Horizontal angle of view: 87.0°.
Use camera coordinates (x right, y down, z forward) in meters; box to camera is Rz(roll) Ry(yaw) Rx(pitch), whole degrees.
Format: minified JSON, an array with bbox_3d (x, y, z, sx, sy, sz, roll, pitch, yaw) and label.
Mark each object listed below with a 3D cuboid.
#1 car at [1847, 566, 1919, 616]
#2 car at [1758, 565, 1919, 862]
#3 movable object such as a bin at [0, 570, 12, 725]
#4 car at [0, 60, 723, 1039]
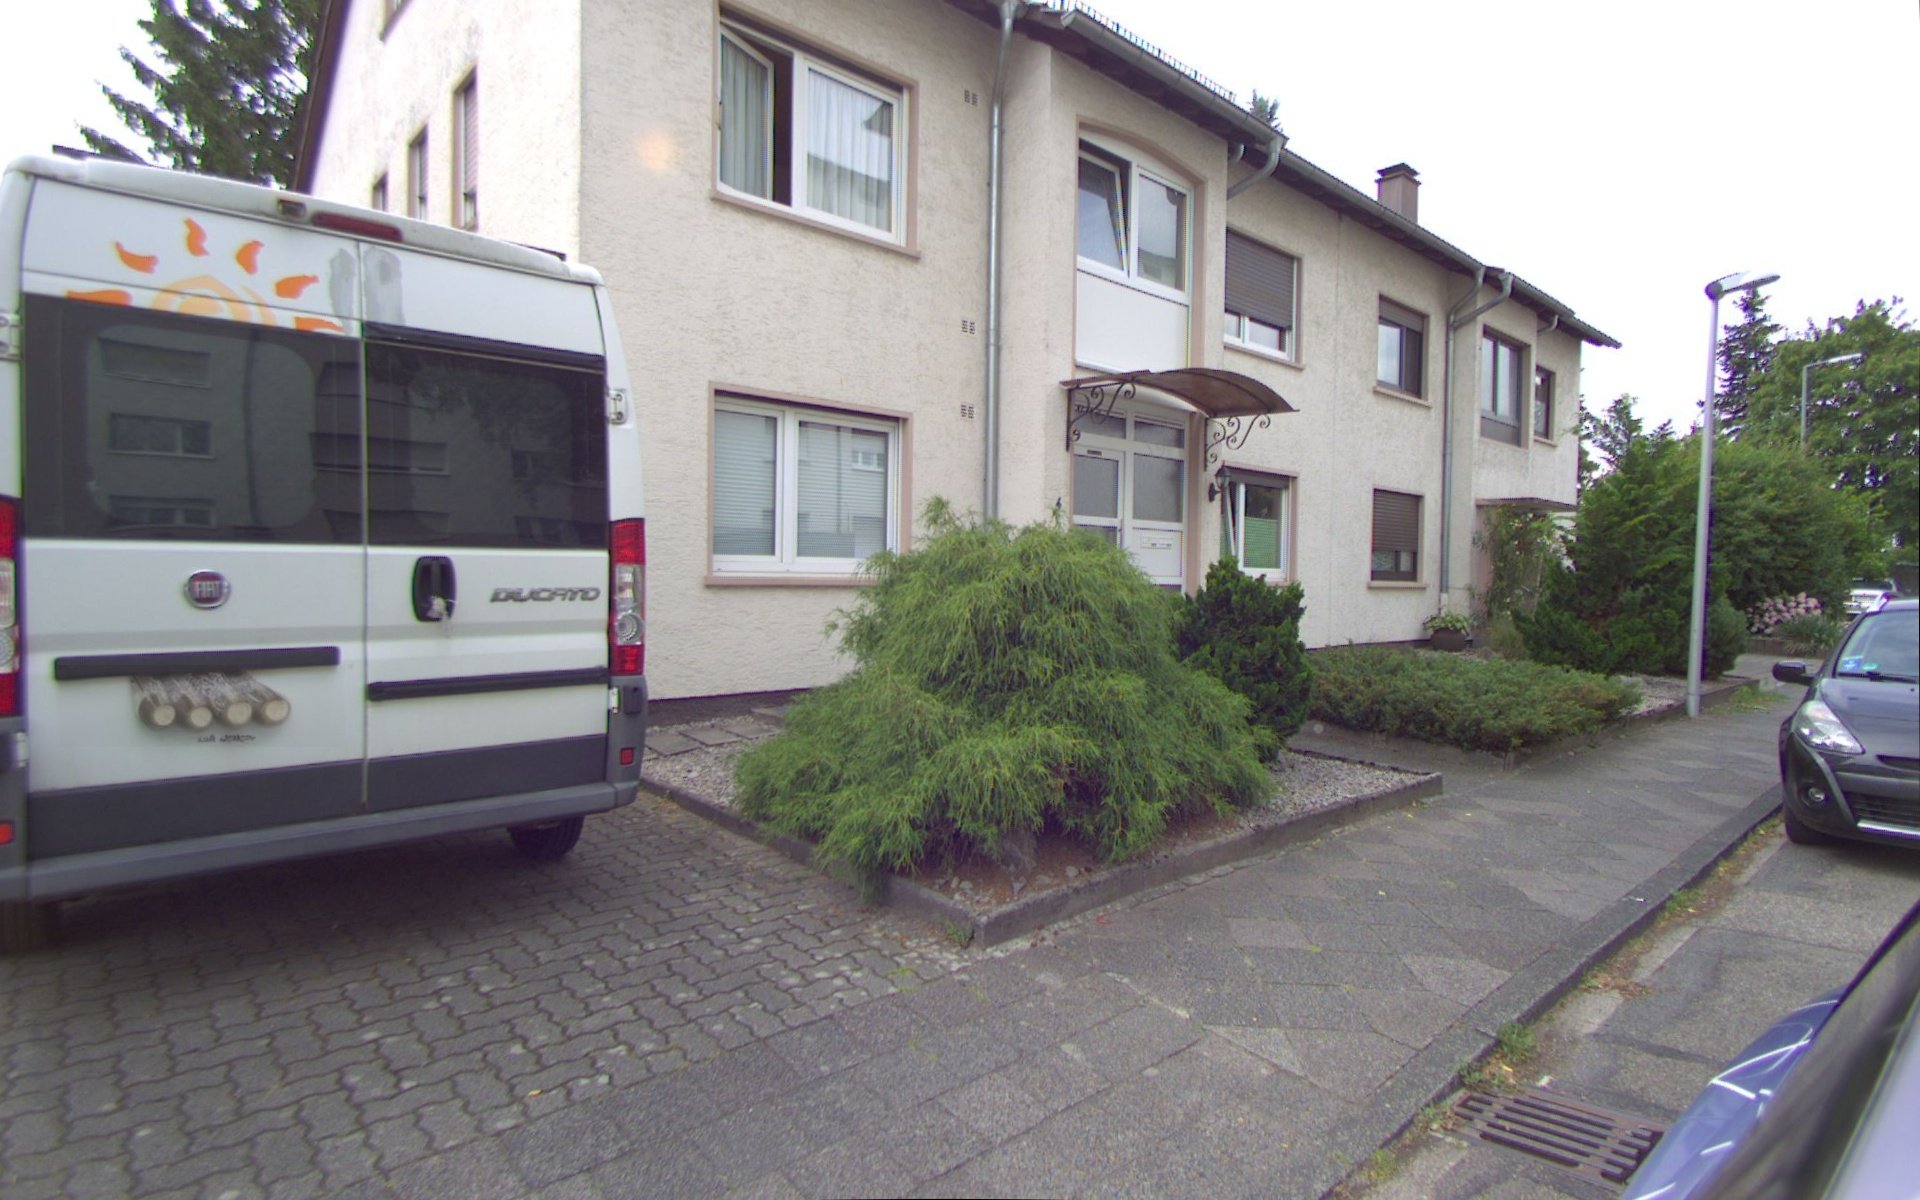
[{"bbox_3d":[30.401,-0.345,33.195,3.936,1.484,1.702,-3,4,-45],"label":"car"},{"bbox_3d":[6.424,0.549,6.267,4.122,1.476,1.831,-1,1,-44],"label":"car"},{"bbox_3d":[-7.053,0.332,7.128,0.537,1.069,0.456,-1,4,-43],"label":"movable object such as a bin"},{"bbox_3d":[-3.460,-0.261,5.238,2.199,2.573,5.098,0,3,-41],"label":"car"}]
